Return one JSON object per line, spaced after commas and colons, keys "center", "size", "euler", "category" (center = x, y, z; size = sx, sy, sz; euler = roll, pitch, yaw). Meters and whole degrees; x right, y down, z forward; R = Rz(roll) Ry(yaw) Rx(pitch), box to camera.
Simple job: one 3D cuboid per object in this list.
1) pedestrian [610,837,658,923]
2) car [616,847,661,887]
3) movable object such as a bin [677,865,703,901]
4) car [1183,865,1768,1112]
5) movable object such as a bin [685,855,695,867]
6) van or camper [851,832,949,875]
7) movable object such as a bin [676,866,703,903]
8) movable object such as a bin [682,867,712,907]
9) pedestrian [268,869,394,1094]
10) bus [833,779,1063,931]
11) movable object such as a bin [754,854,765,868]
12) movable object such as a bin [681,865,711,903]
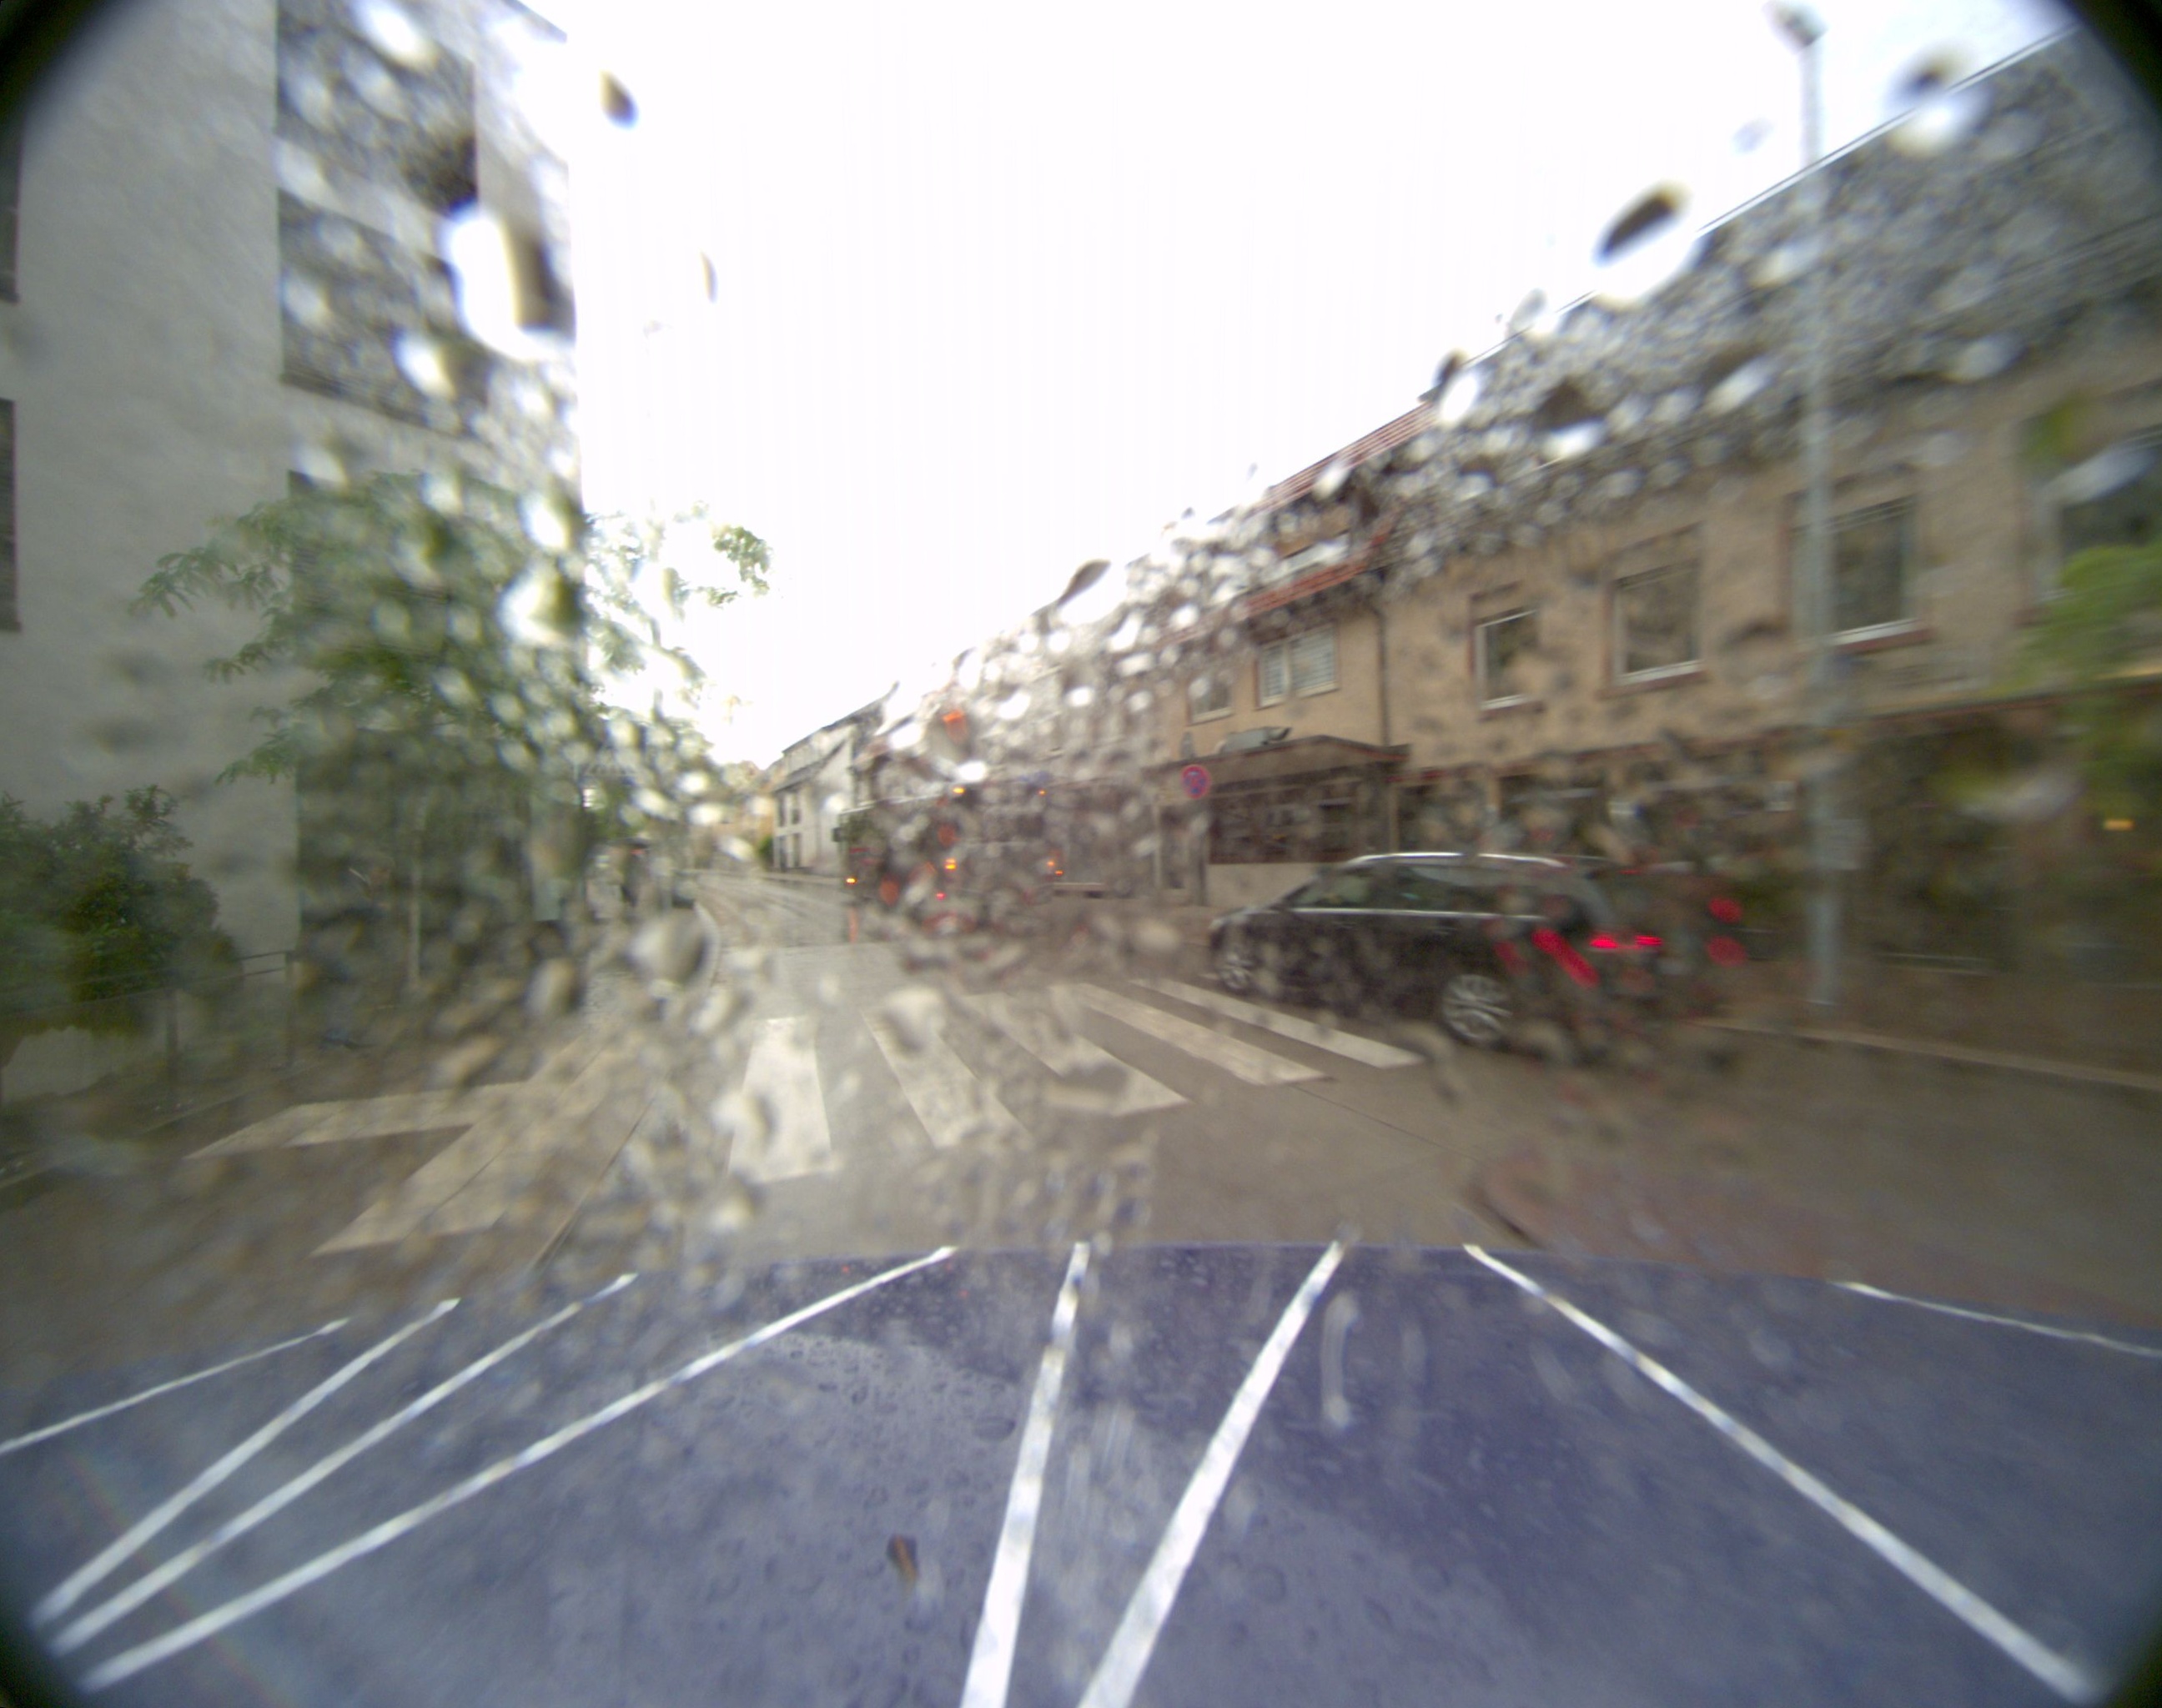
{"center": [-10.813, 0.590, 18.373], "size": [0.871, 2.003, 1.079], "euler": [-3, 3, -34], "category": "pedestrian"}
{"center": [-23.273, 0.622, 39.919], "size": [1.845, 1.896, 4.592], "euler": [0, 1, -33], "category": "car"}
{"center": [-13.000, 0.964, 25.266], "size": [0.755, 1.164, 0.629], "euler": [-1, 2, -25], "category": "movable object such as a bin"}
{"center": [2.993, 0.831, 6.846], "size": [1.673, 1.422, 4.458], "euler": [-1, 0, -31], "category": "car"}
{"center": [-35.761, 0.604, 69.493], "size": [0.716, 1.053, 0.574], "euler": [-3, 3, -38], "category": "movable object such as a bin"}
{"center": [-10.620, -0.103, 44.682], "size": [5.046, 1.923, 1.994], "euler": [-8, 6, -33], "category": "van or camper"}
{"center": [-12.711, 0.980, 24.667], "size": [0.755, 1.164, 0.629], "euler": [-1, 2, -25], "category": "movable object such as a bin"}
{"center": [-11.276, 0.949, 22.284], "size": [0.727, 1.112, 0.575], "euler": [-2, 2, -28], "category": "movable object such as a bin"}
{"center": [-5.776, 0.923, 5.891], "size": [0.585, 1.596, 0.702], "euler": [0, 1, -36], "category": "pedestrian"}
{"center": [-4.250, -0.046, 20.779], "size": [2.736, 3.062, 10.920], "euler": [-2, 1, -29], "category": "bus"}
{"center": [-25.619, 0.558, 60.508], "size": [0.661, 1.102, 0.719], "euler": [2, 0, -32], "category": "movable object such as a bin"}
{"center": [-11.848, 0.922, 23.358], "size": [0.765, 1.112, 0.622], "euler": [-2, 2, -28], "category": "movable object such as a bin"}
